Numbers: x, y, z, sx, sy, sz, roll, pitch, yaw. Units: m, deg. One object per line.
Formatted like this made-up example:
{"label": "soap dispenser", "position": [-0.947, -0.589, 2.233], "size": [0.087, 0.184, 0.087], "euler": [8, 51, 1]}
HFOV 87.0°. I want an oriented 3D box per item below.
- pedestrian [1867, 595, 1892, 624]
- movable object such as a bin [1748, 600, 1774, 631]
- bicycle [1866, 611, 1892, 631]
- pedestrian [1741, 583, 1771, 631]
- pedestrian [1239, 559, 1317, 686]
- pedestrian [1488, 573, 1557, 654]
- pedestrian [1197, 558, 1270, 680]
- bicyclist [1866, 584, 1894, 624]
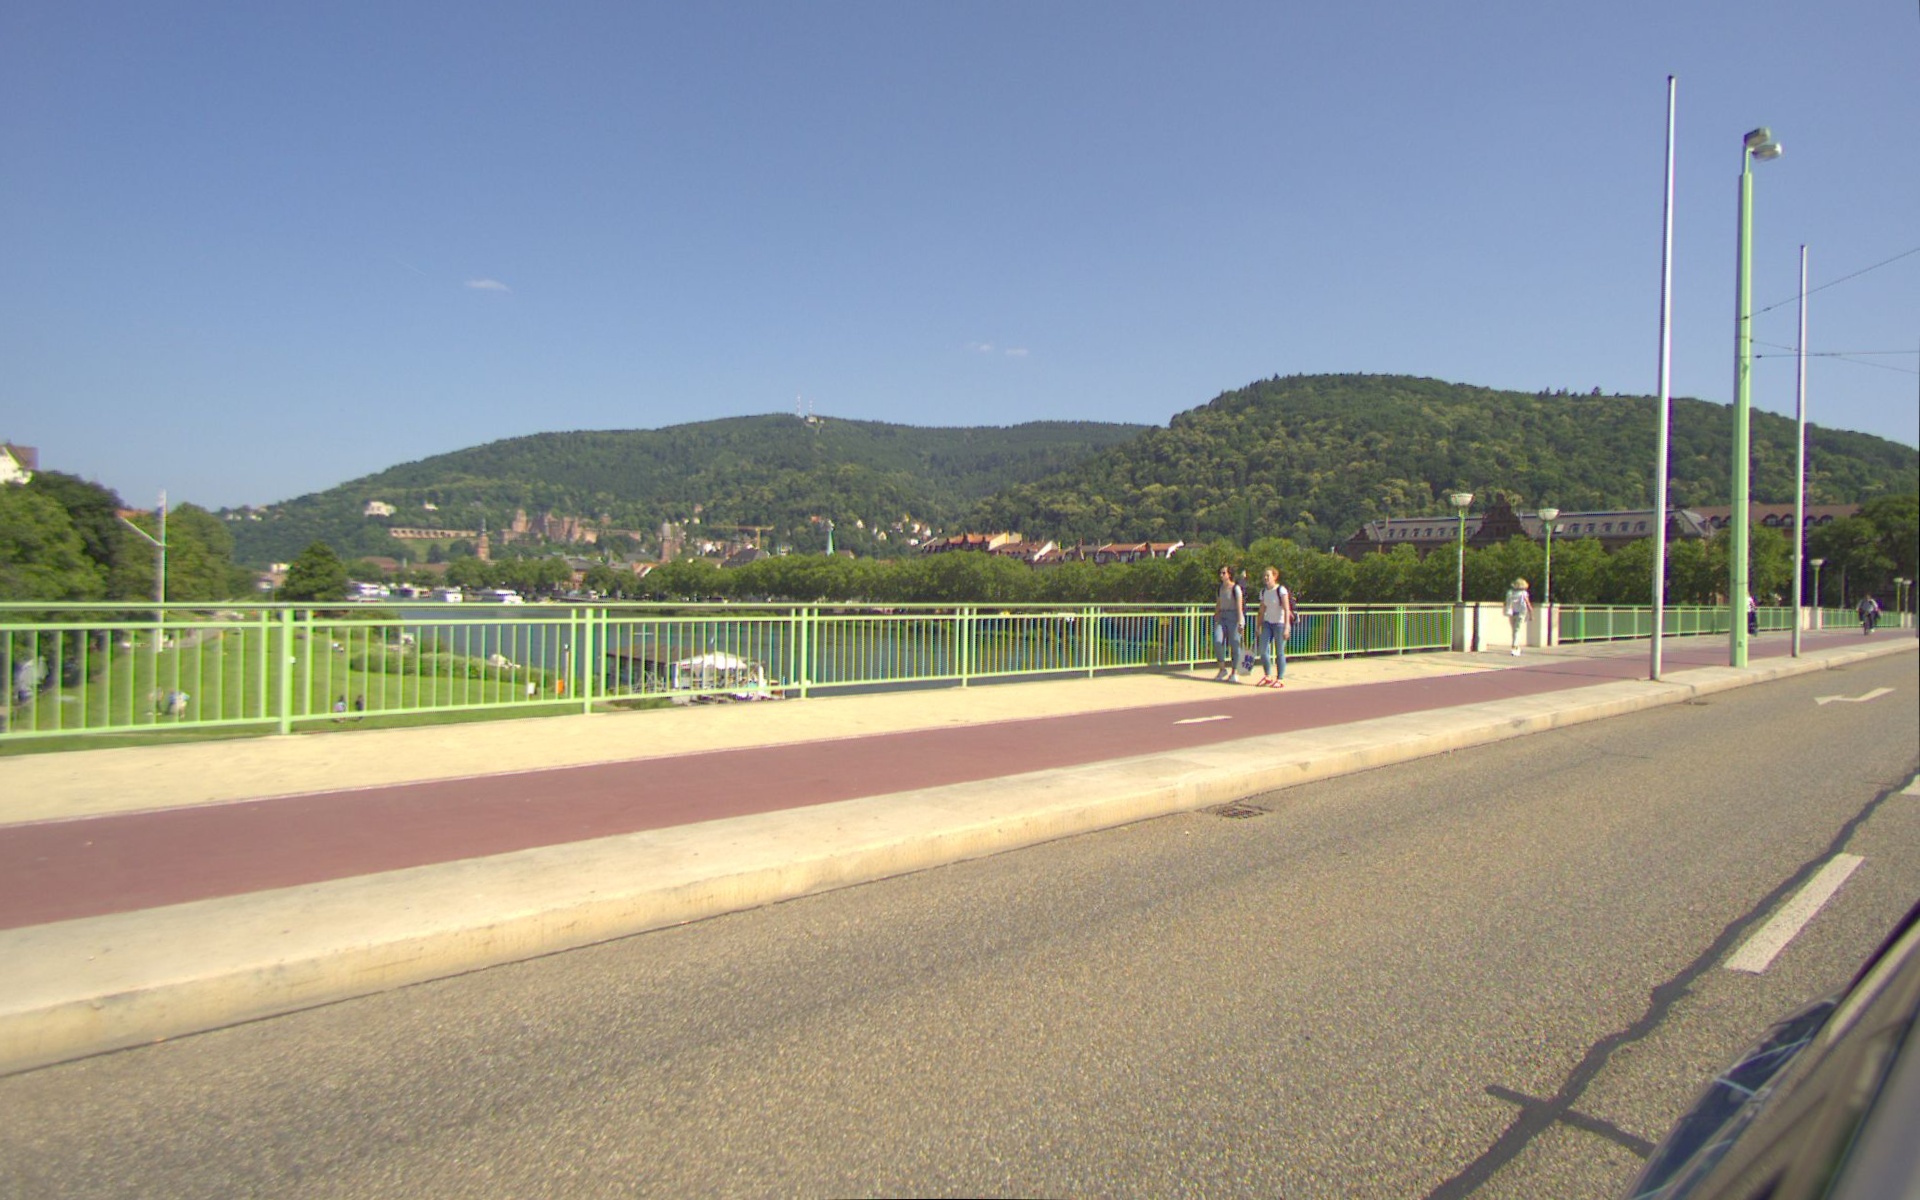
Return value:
{"label": "pedestrian", "position": [55.849, 0.567, 61.444], "size": [1.063, 1.683, 0.949], "euler": [0, 2, -41]}
{"label": "movable object such as a bin", "position": [29.618, 0.580, 37.428], "size": [0.917, 1.104, 0.583], "euler": [0, 1, -42]}
{"label": "bicycle", "position": [39.775, 0.901, 43.809], "size": [1.834, 0.775, 0.595], "euler": [0, 2, -41]}
{"label": "pedestrian", "position": [29.017, 0.247, 36.888], "size": [0.844, 1.727, 0.664], "euler": [0, 2, -41]}
{"label": "pedestrian", "position": [4.379, 0.289, 13.938], "size": [0.811, 1.679, 0.664], "euler": [0, 2, -41]}
{"label": "pedestrian", "position": [12.303, 0.270, 22.136], "size": [1.063, 1.683, 0.949], "euler": [0, 2, -41]}
{"label": "pedestrian", "position": [3.934, 0.251, 14.548], "size": [0.733, 1.679, 0.668], "euler": [0, 2, -41]}
{"label": "bicyclist", "position": [39.874, 0.170, 43.850], "size": [0.829, 1.685, 0.731], "euler": [1, 2, -40]}
